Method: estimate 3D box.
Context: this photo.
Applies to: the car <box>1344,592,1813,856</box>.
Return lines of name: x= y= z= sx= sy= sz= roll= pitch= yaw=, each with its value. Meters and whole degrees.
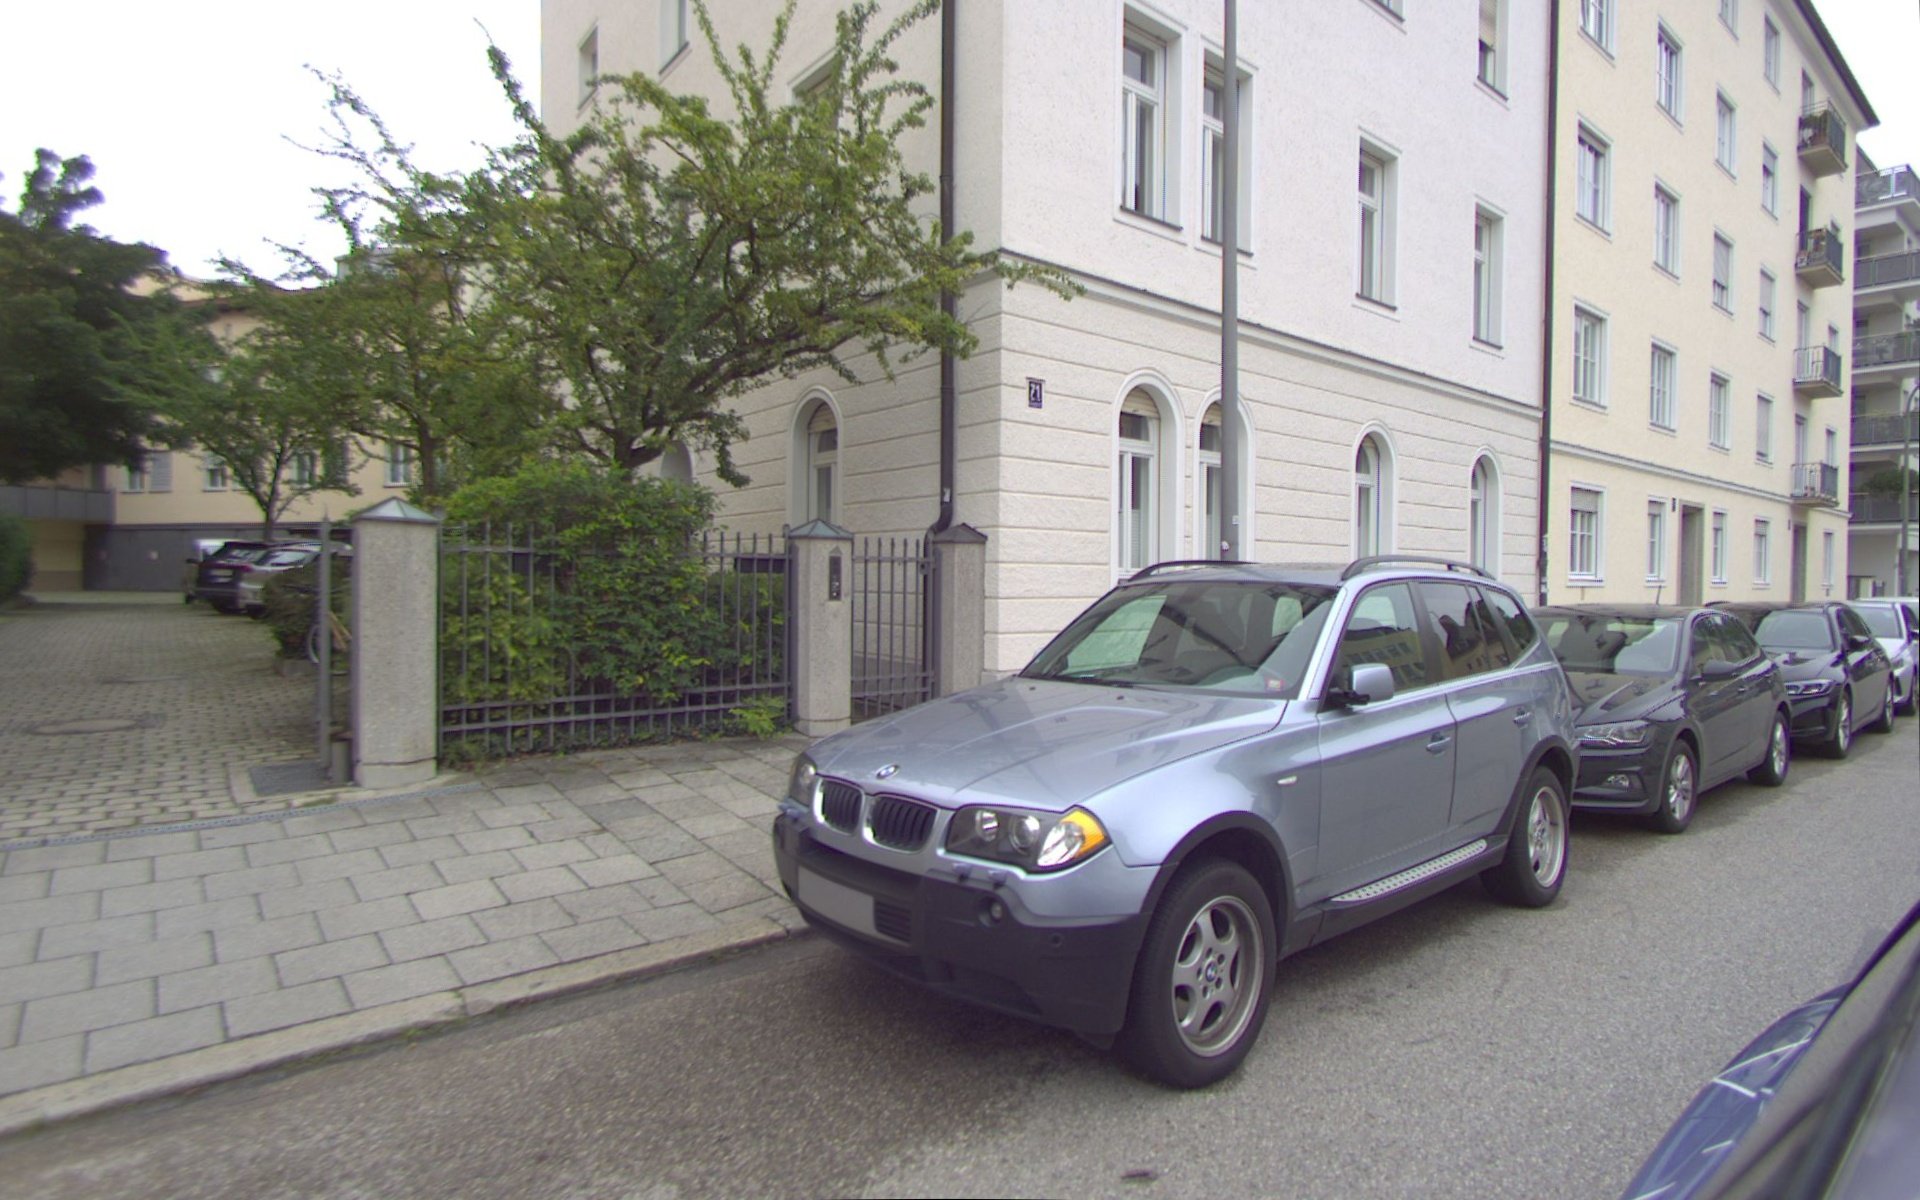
car: x=4.797 y=0.680 z=7.632 sx=4.011 sy=1.468 sz=1.831 roll=0 pitch=0 yaw=-40

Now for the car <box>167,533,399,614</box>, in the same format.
car: x=-14.565 y=-0.545 z=22.058 sx=1.969 sy=1.605 sz=3.986 roll=0 pitch=1 yaw=12

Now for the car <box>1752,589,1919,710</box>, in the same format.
car: x=12.708 y=0.593 z=14.251 sx=4.114 sy=1.468 sz=1.727 roll=0 pitch=0 yaw=-41

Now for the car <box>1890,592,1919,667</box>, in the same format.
car: x=20.221 y=0.565 z=20.373 sx=4.218 sy=1.448 sz=1.728 roll=0 pitch=0 yaw=-40

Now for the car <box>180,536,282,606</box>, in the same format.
car: x=-19.864 y=-0.741 z=27.490 sx=1.965 sy=1.749 sz=4.355 roll=0 pitch=1 yaw=-40

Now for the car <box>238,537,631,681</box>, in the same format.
car: x=-6.290 y=0.037 z=12.331 sx=3.931 sy=1.476 sz=1.861 roll=-2 pitch=1 yaw=-41

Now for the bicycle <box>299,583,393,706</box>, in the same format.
bicycle: x=-5.867 y=0.381 z=9.652 sx=0.721 sy=1.074 sz=1.177 roll=0 pitch=1 yaw=-33

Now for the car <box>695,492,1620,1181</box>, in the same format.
car: x=1.245 y=0.551 z=4.633 sx=4.420 sy=1.684 sz=1.849 roll=0 pitch=1 yaw=-41

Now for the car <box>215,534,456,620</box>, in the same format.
car: x=-12.399 y=-0.455 z=20.419 sx=1.969 sy=1.538 sz=3.986 roll=0 pitch=1 yaw=12

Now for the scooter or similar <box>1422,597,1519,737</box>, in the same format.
scooter or similar: x=4.788 y=0.593 z=9.481 sx=1.028 sy=1.246 sz=0.428 roll=0 pitch=0 yaw=-39

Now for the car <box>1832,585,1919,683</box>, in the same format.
car: x=16.535 y=0.537 z=17.546 sx=3.924 sy=1.563 sz=1.653 roll=0 pitch=0 yaw=-42

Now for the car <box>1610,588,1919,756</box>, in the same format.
car: x=8.965 y=0.618 z=11.055 sx=4.595 sy=1.468 sz=1.879 roll=0 pitch=0 yaw=-40
